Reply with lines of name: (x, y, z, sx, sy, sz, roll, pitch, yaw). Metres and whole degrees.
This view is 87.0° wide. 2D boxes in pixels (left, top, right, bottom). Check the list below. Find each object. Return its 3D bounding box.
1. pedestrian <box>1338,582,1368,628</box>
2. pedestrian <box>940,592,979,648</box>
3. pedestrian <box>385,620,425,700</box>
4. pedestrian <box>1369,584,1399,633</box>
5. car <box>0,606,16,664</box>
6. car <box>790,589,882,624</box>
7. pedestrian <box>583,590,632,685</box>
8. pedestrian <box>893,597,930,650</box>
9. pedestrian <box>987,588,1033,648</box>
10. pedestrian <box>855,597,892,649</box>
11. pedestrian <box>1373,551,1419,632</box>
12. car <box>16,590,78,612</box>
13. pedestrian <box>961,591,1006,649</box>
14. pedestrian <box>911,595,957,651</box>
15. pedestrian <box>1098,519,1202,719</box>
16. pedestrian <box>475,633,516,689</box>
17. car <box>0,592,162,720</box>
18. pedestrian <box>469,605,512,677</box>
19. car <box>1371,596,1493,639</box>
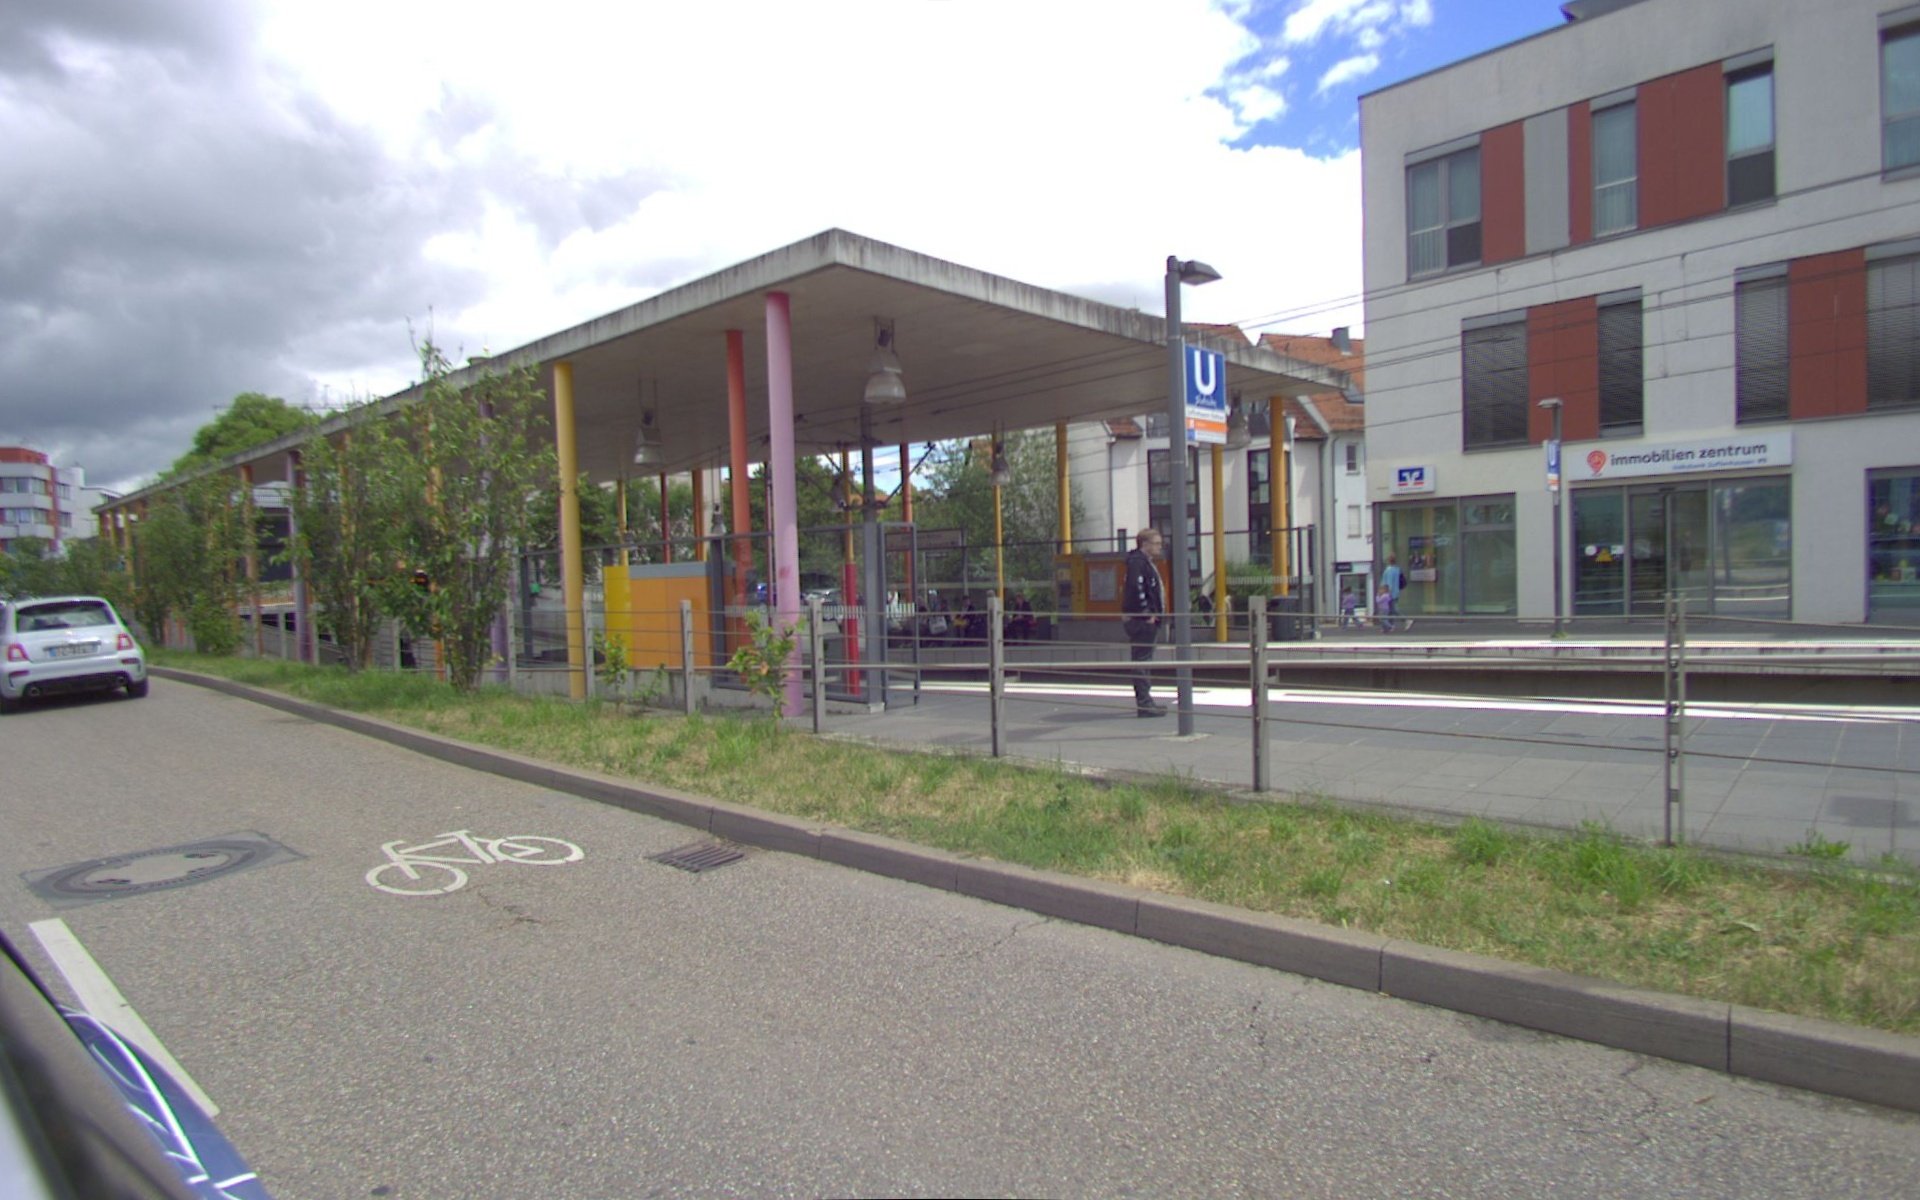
pedestrian: (9.153, 0.119, 23.562, 0.562, 1.030, 0.359, 2, 5, 45)
pedestrian: (-0.014, 0.506, 26.260, 0.702, 1.389, 0.644, -2, 2, 44)
pedestrian: (-13.536, 1.443, 24.696, 0.710, 1.843, 0.580, 2, 5, 44)
pedestrian: (8.981, 0.179, 21.441, 0.492, 0.997, 0.359, 2, 5, 45)
car: (-27.549, 1.008, 27.977, 4.254, 1.532, 1.707, 0, 4, 43)
car: (-5.802, 0.279, 47.530, 3.933, 1.347, 1.575, -4, 4, -32)
pedestrian: (-6.345, 0.665, 18.202, 0.548, 1.645, 0.526, -2, 2, 42)
pedestrian: (-1.331, 0.639, 27.778, 0.702, 1.389, 0.644, -2, 2, 44)
pedestrian: (1.228, 0.439, 24.961, 0.702, 1.389, 0.813, -2, 2, 43)
pedestrian: (-2.461, 0.652, 28.732, 0.705, 1.389, 0.678, -2, 2, 44)
pedestrian: (9.446, -0.202, 21.918, 0.724, 1.697, 0.676, 2, 5, 45)
car: (-83.854, 0.093, 93.028, 1.820, 1.674, 3.996, -1, 4, 5)
pedestrian: (0.607, 0.503, 25.620, 0.702, 1.389, 0.813, -2, 2, 43)
pedestrian: (-0.678, 0.613, 26.846, 0.702, 1.389, 0.917, -2, 2, 43)
pedestrian: (1.871, 0.179, 9.890, 0.778, 1.858, 0.731, -3, 2, 21)
pedestrian: (-9.633, 1.248, 20.973, 0.484, 1.091, 0.559, -2, 2, 42)
car: (-13.318, 0.742, 14.874, 3.999, 1.519, 1.752, -1, 4, 42)
pedestrian: (-11.150, 0.963, 24.025, 0.636, 1.626, 0.622, -2, 2, 44)
car: (15.830, 0.568, 33.959, 3.653, 1.334, 1.653, 0, 3, -24)
